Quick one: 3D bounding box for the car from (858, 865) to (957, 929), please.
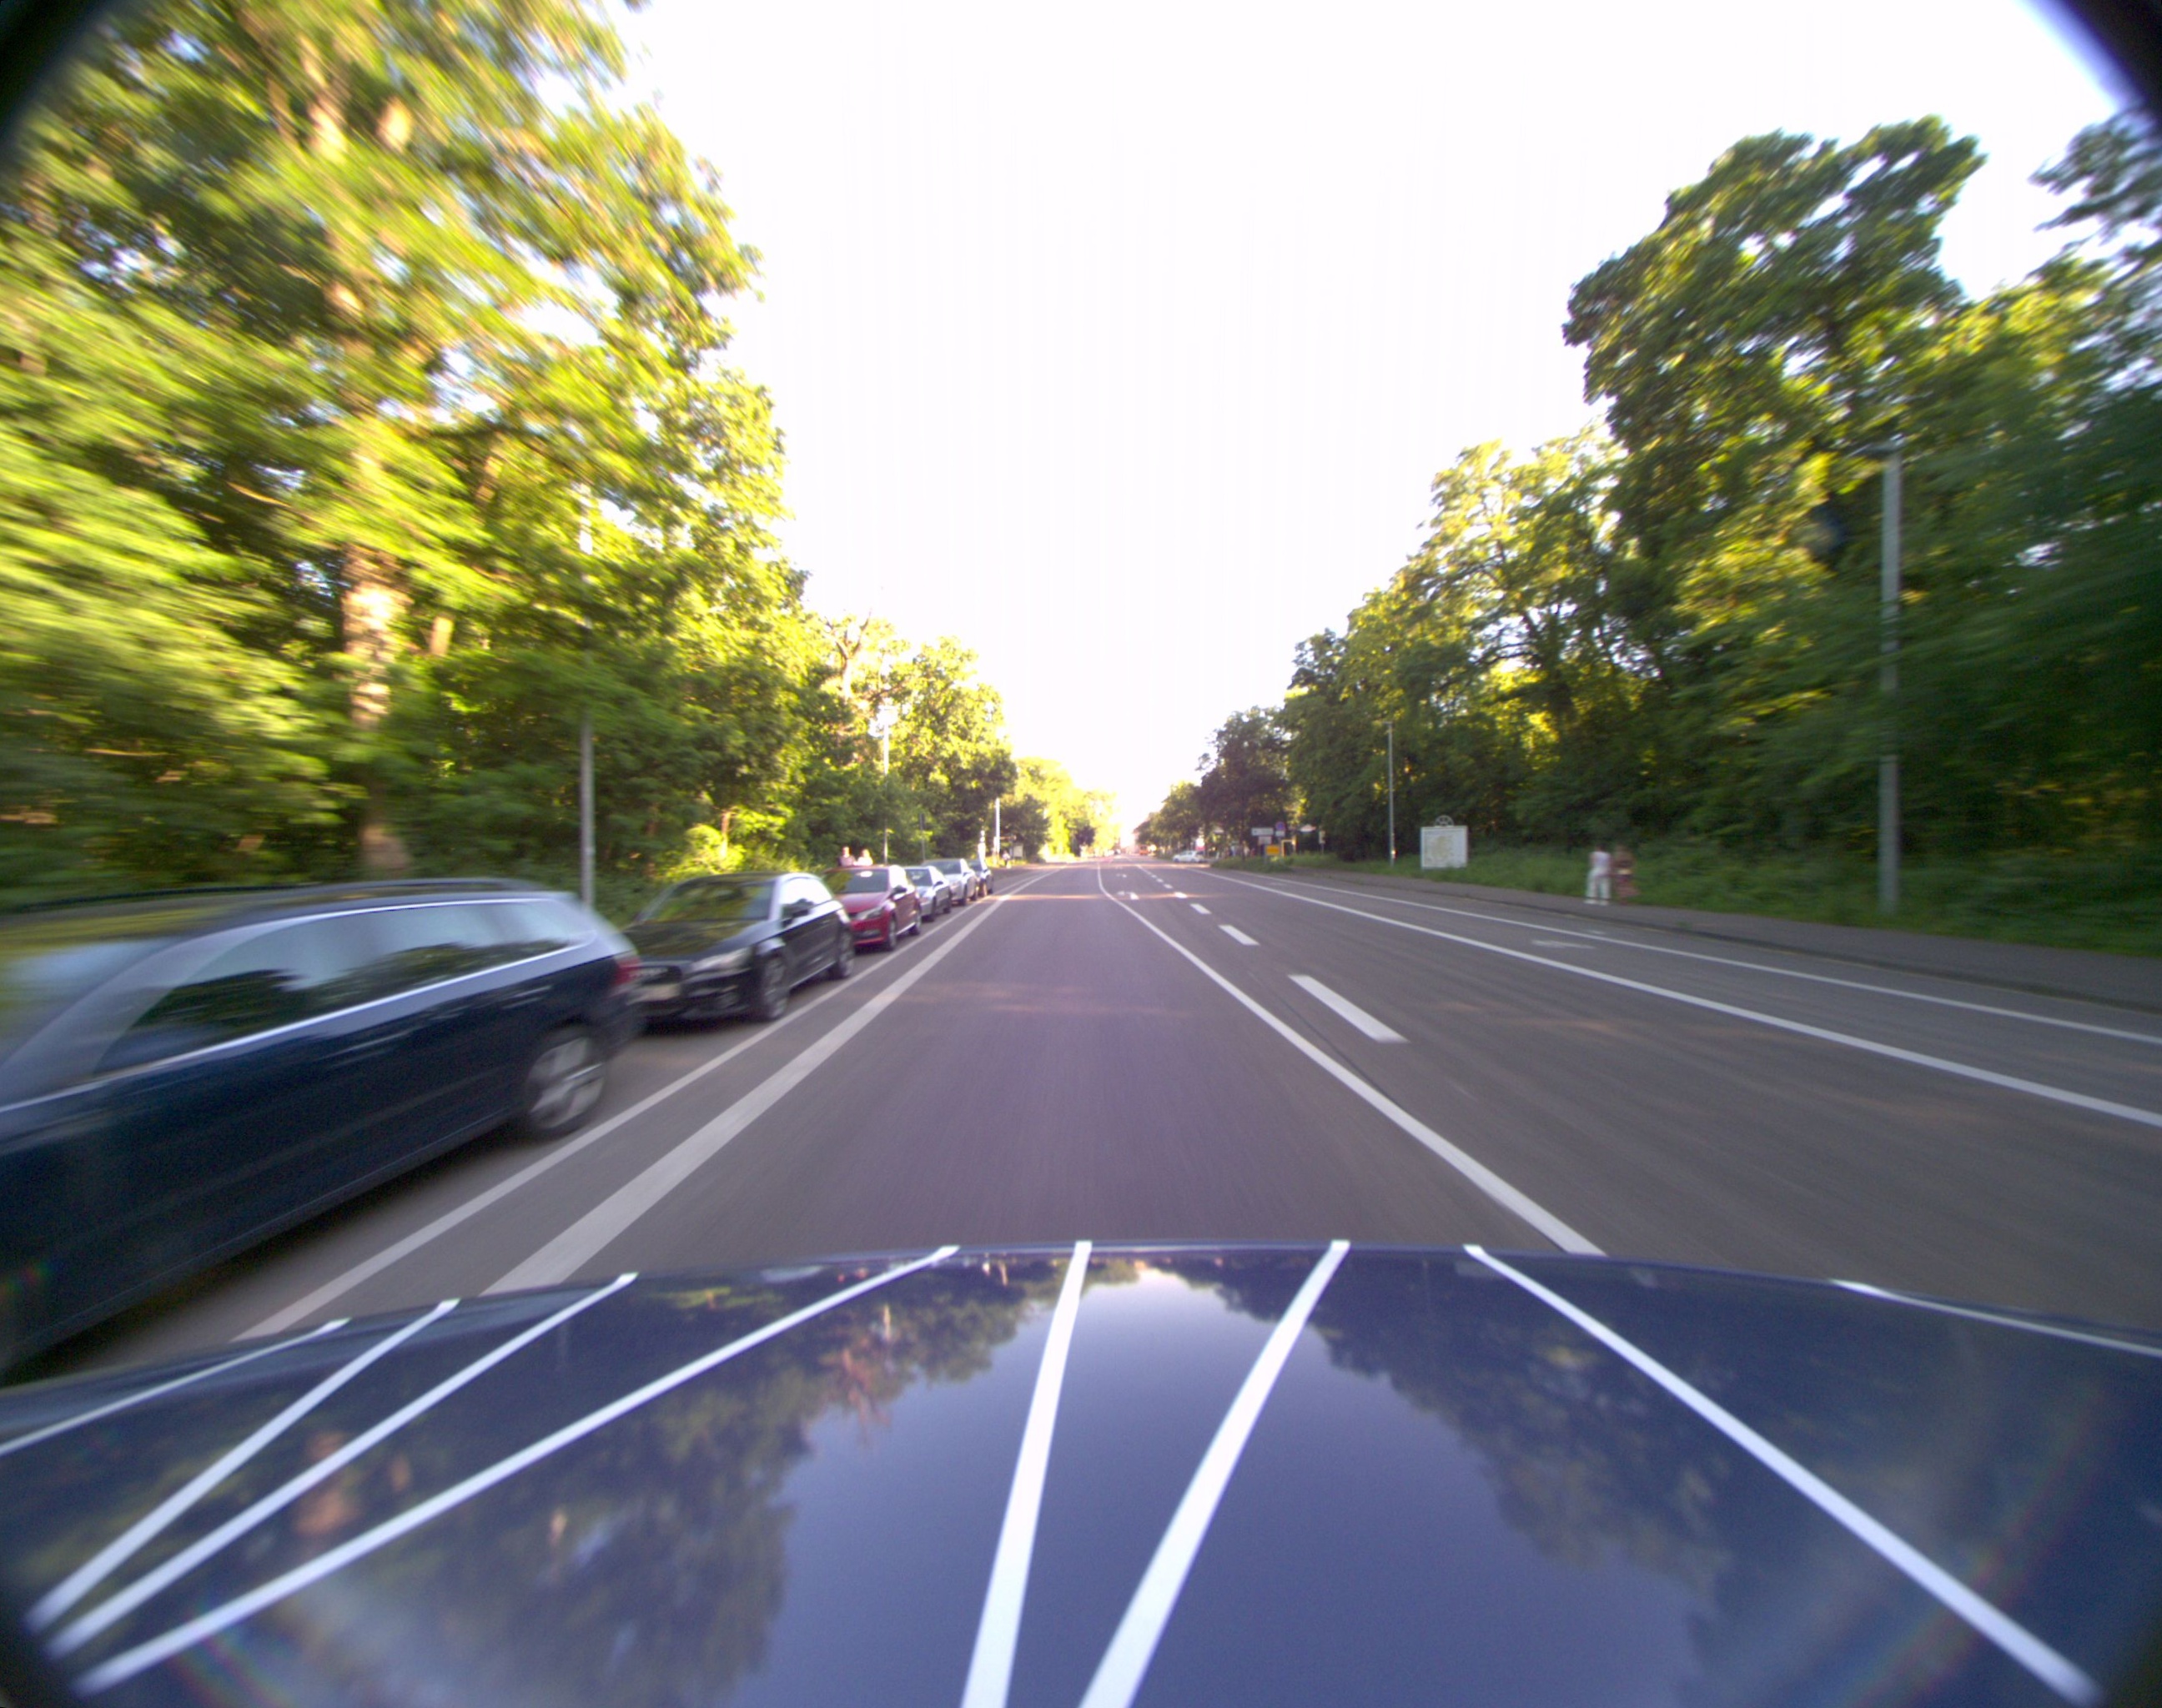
[{"bbox_3d":[-4.254,0.995,19.156,1.632,1.312,3.839,-2,1,-1],"label":"car"}]

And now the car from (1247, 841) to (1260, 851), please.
[{"bbox_3d":[30.832,-1.426,135.789,1.758,1.631,3.838,0,1,4],"label":"car"}]

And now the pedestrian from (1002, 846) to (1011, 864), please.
[{"bbox_3d":[-7.387,0.120,75.460,0.809,1.789,0.734,-1,1,1],"label":"pedestrian"}]

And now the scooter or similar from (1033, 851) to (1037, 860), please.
[{"bbox_3d":[-6.170,0.193,101.764,0.386,1.177,1.103,0,1,2],"label":"scooter or similar"}]

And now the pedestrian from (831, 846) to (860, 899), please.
[{"bbox_3d":[-8.076,0.618,26.085,0.677,1.788,0.953,1,1,-3],"label":"pedestrian"}]

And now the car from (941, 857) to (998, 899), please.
[{"bbox_3d":[-4.231,0.865,29.379,1.661,1.443,4.019,-1,1,-1],"label":"car"}]

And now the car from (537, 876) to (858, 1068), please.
[{"bbox_3d":[-3.753,1.040,8.249,1.598,1.393,3.797,-2,1,-2],"label":"car"}]

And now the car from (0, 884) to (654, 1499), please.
[{"bbox_3d":[-3.858,1.025,2.908,1.812,1.510,4.503,-3,1,0],"label":"car"}]

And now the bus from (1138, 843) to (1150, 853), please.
[{"bbox_3d":[21.769,-2.087,262.900,3.038,3.388,9.478,-1,1,-3],"label":"bus"}]

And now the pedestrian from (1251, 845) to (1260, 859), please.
[{"bbox_3d":[22.002,-0.277,95.822,0.738,1.809,0.832,-1,1,-35],"label":"pedestrian"}]

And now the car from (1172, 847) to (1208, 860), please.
[{"bbox_3d":[13.131,-0.045,91.827,3.932,1.517,1.835,0,1,44],"label":"car"}]

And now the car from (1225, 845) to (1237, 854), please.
[{"bbox_3d":[27.038,-0.883,137.170,1.758,1.631,3.613,0,1,4],"label":"car"}]

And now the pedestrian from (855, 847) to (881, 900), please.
[{"bbox_3d":[-7.375,0.662,26.284,0.677,1.788,0.789,1,1,-3],"label":"pedestrian"}]

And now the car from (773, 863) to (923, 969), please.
[{"bbox_3d":[-3.921,0.961,13.430,1.621,1.460,3.723,-3,1,-3],"label":"car"}]

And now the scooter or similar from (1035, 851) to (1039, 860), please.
[{"bbox_3d":[-5.933,0.162,102.955,0.386,1.177,1.103,0,1,2],"label":"scooter or similar"}]

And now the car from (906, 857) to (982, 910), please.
[{"bbox_3d":[-4.356,0.883,24.776,1.741,1.516,4.358,-1,1,-1],"label":"car"}]

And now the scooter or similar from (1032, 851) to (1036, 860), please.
[{"bbox_3d":[-6.198,0.220,100.056,0.386,1.177,1.188,0,1,2],"label":"scooter or similar"}]

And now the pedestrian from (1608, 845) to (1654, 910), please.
[{"bbox_3d":[14.258,0.602,19.709,0.676,1.644,0.790,-1,1,7],"label":"pedestrian"}]

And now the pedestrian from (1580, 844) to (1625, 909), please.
[{"bbox_3d":[13.566,0.571,19.791,0.676,1.644,0.790,-1,1,7],"label":"pedestrian"}]
